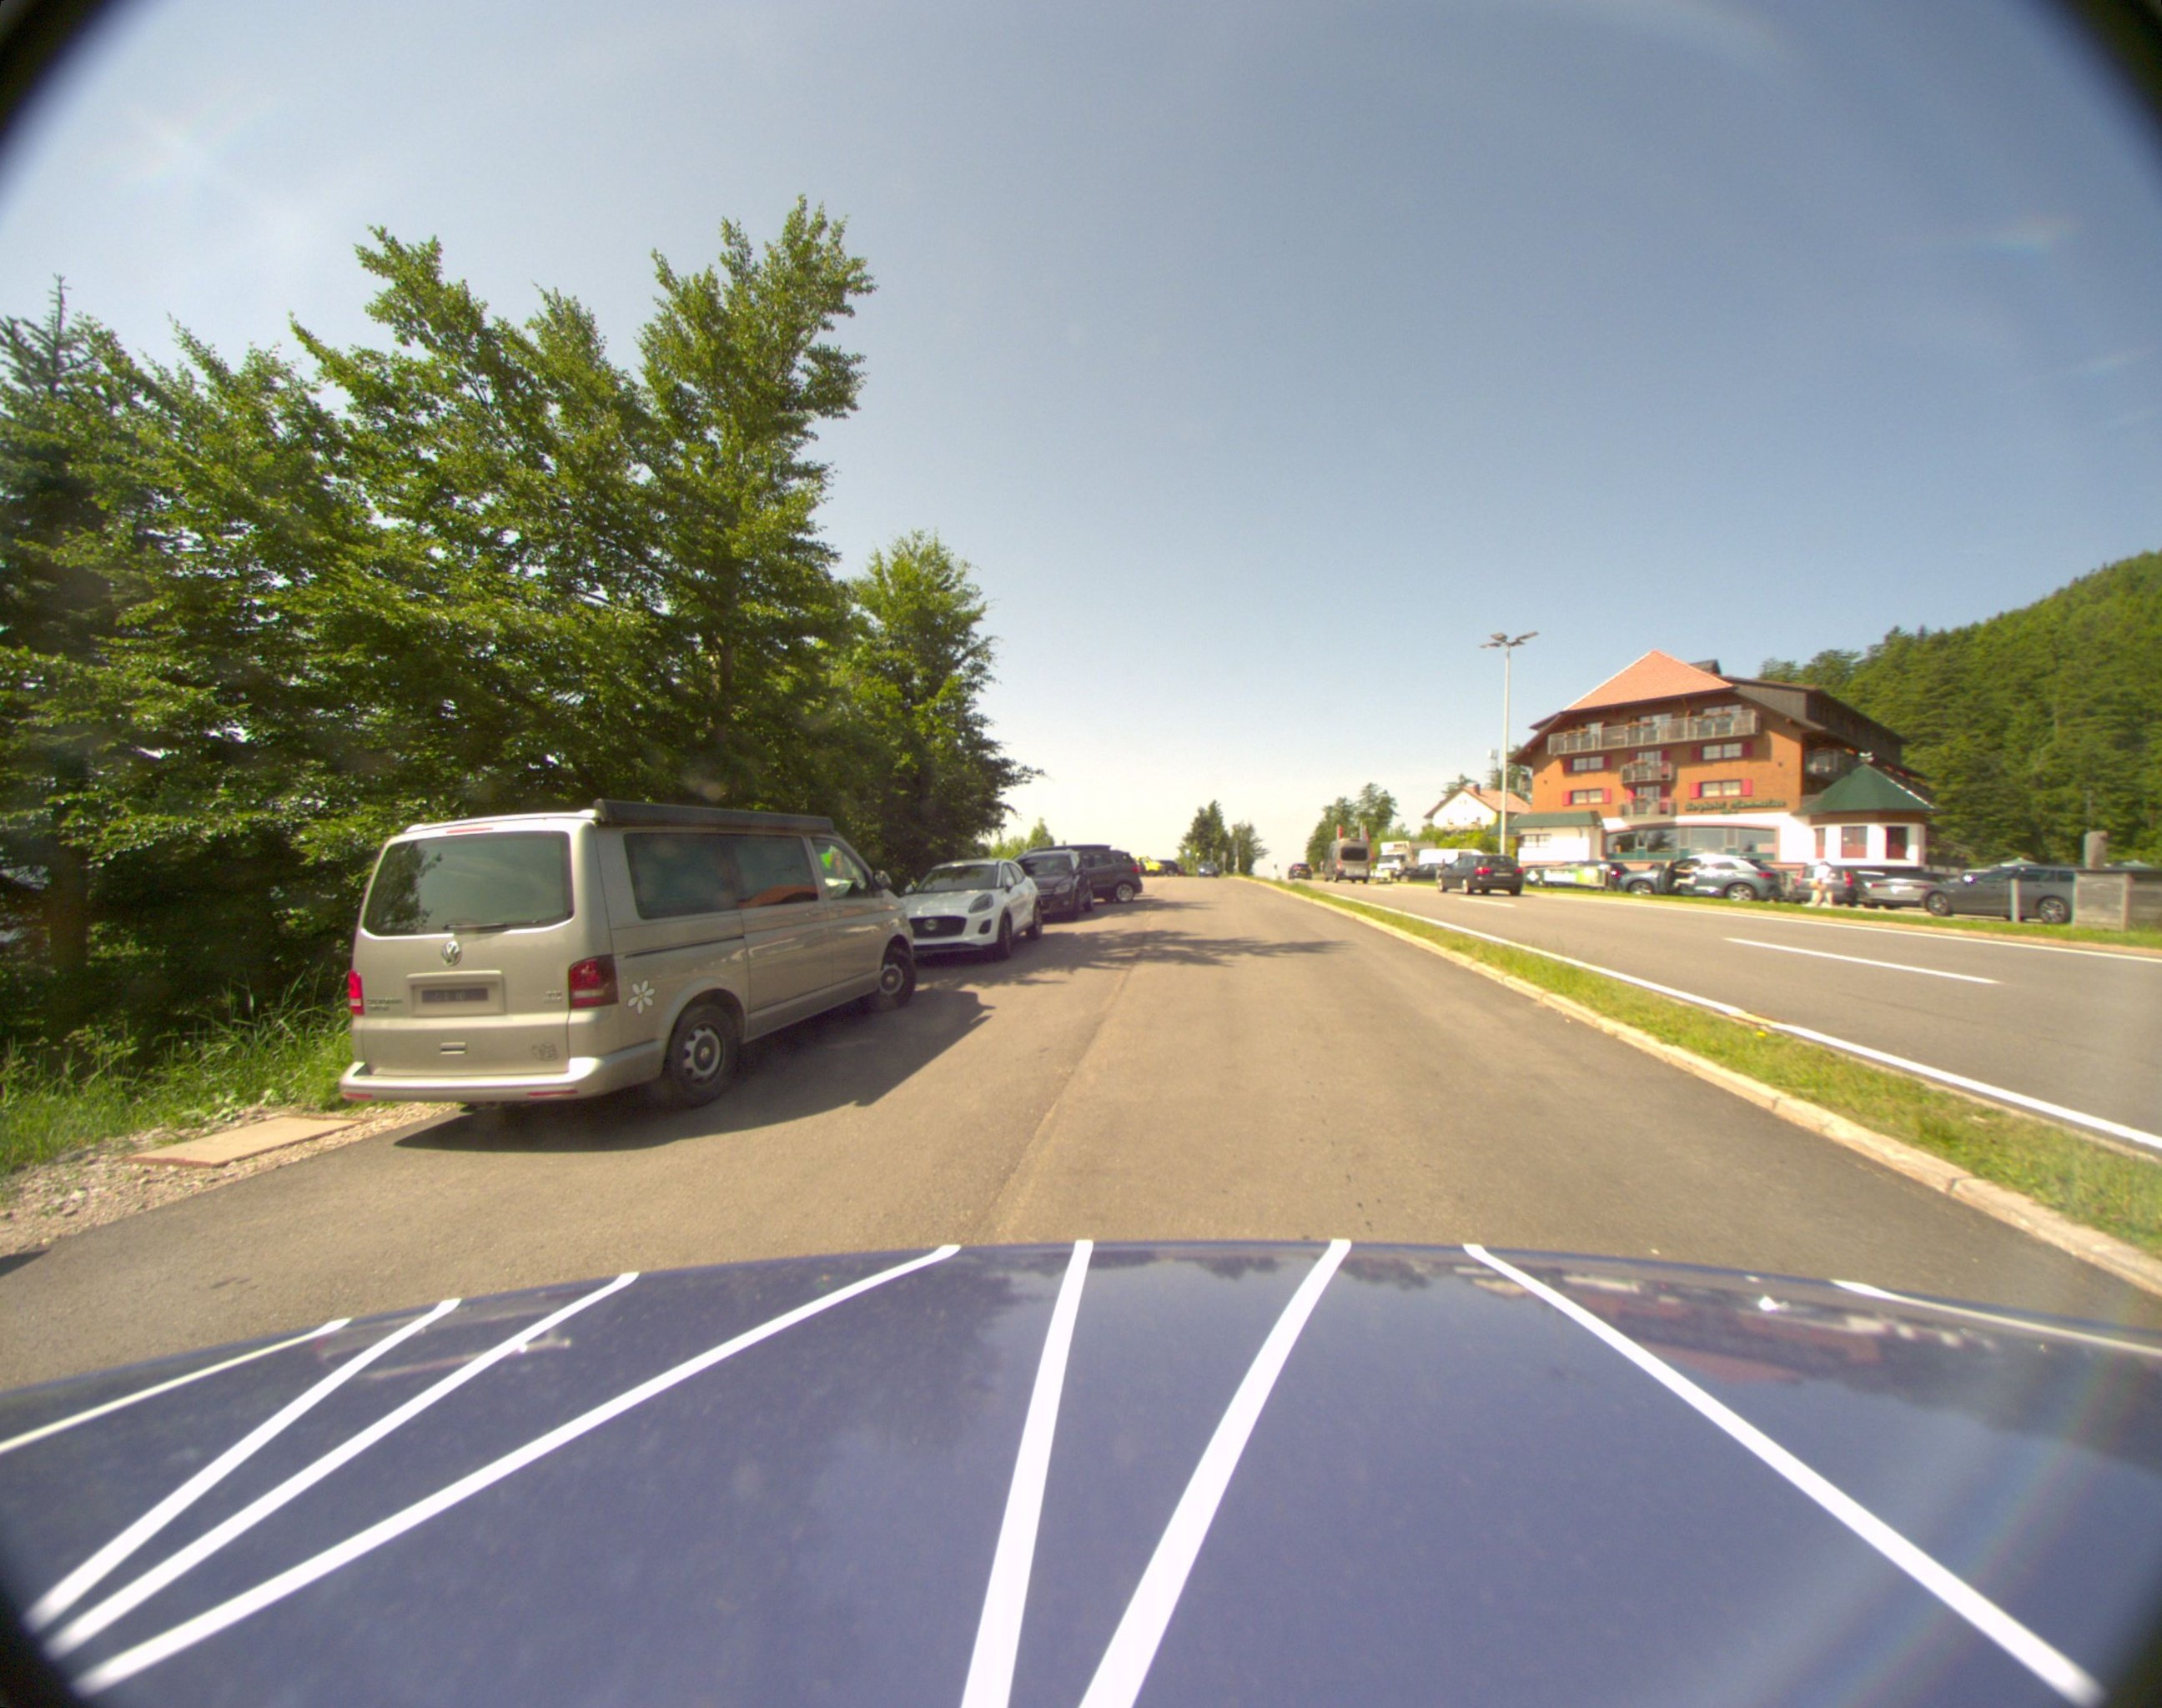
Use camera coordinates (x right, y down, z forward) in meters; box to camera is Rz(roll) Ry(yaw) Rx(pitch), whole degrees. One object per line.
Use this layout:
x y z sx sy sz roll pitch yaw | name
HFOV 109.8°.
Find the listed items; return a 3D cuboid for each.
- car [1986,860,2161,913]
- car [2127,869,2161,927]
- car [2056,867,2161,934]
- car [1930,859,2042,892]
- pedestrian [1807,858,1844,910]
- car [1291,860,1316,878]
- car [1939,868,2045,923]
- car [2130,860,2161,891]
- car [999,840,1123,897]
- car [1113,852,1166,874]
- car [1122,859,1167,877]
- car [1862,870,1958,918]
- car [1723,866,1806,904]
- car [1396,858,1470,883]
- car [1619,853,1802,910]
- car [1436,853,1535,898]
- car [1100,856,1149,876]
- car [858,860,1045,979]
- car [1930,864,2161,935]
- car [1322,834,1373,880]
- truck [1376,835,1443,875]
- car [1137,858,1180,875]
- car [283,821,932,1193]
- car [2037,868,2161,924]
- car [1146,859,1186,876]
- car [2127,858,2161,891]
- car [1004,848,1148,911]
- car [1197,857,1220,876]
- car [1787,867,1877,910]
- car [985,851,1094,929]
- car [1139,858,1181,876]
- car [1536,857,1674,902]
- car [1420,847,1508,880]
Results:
34.761 1.070 26.479 1.828 1.619 4.083 0 1 -39 | car
32.264 1.281 20.839 1.828 1.619 4.083 0 1 -39 | car
28.090 1.185 20.632 4.103 1.619 1.819 1 1 -36 | car
52.616 1.203 44.223 1.924 1.706 4.083 0 1 -38 | car
23.597 0.945 24.102 0.744 1.615 0.685 1 1 38 | pedestrian
21.651 1.414 74.042 1.719 1.672 4.133 0 0 8 | car
28.279 1.204 23.552 4.103 1.504 1.819 1 1 -36 | car
61.213 1.233 41.273 1.924 1.706 4.832 0 1 -38 | car
-0.803 0.531 29.290 4.461 1.914 1.875 -3 0 -11 | car
5.123 0.773 66.534 4.453 1.914 1.878 1 1 11 | car
5.843 1.250 69.686 3.906 1.605 1.878 1 1 11 | car
29.324 1.351 26.842 4.103 1.504 1.819 1 1 -36 | car
29.209 1.272 32.437 4.103 1.504 1.819 1 1 -36 | car
23.768 1.078 51.377 1.828 1.518 4.082 0 1 -43 | car
20.270 0.808 24.624 1.828 1.619 4.258 0 1 -39 | car
14.187 0.692 26.920 1.709 1.429 4.453 1 0 9 | car
3.663 1.007 64.008 3.906 1.605 1.878 1 1 11 | car
-1.913 0.937 12.577 1.874 1.538 4.002 -3 0 8 | car
23.339 1.010 18.269 1.719 1.422 4.002 1 1 8 | car
16.914 0.185 48.535 2.015 2.735 5.921 1 0 9 | car
33.145 0.124 76.447 9.036 3.798 2.876 0 -1 -44 | truck
7.406 1.169 72.320 3.906 1.605 1.878 1 1 11 | car
-3.078 0.836 6.367 1.860 1.924 4.613 -3 0 11 | car
33.285 1.319 23.804 1.828 1.619 4.083 0 1 -39 | car
8.819 1.370 78.850 3.906 1.605 1.878 1 1 11 | car
57.614 1.092 39.253 1.924 1.706 4.083 0 1 -38 | car
-0.201 0.733 23.078 4.000 1.609 1.875 -3 0 -11 | car
11.180 1.074 66.662 1.873 1.605 3.915 1 0 8 | car
29.329 1.281 29.653 4.103 1.504 1.819 1 1 -36 | car
-0.881 0.789 18.606 1.874 1.609 4.002 -3 0 8 | car
7.783 1.263 74.906 3.906 1.605 1.878 1 1 11 | car
21.325 0.966 31.082 1.828 1.619 4.258 0 1 -39 | car
34.671 0.800 68.887 6.947 2.774 2.672 1 1 27 | car
